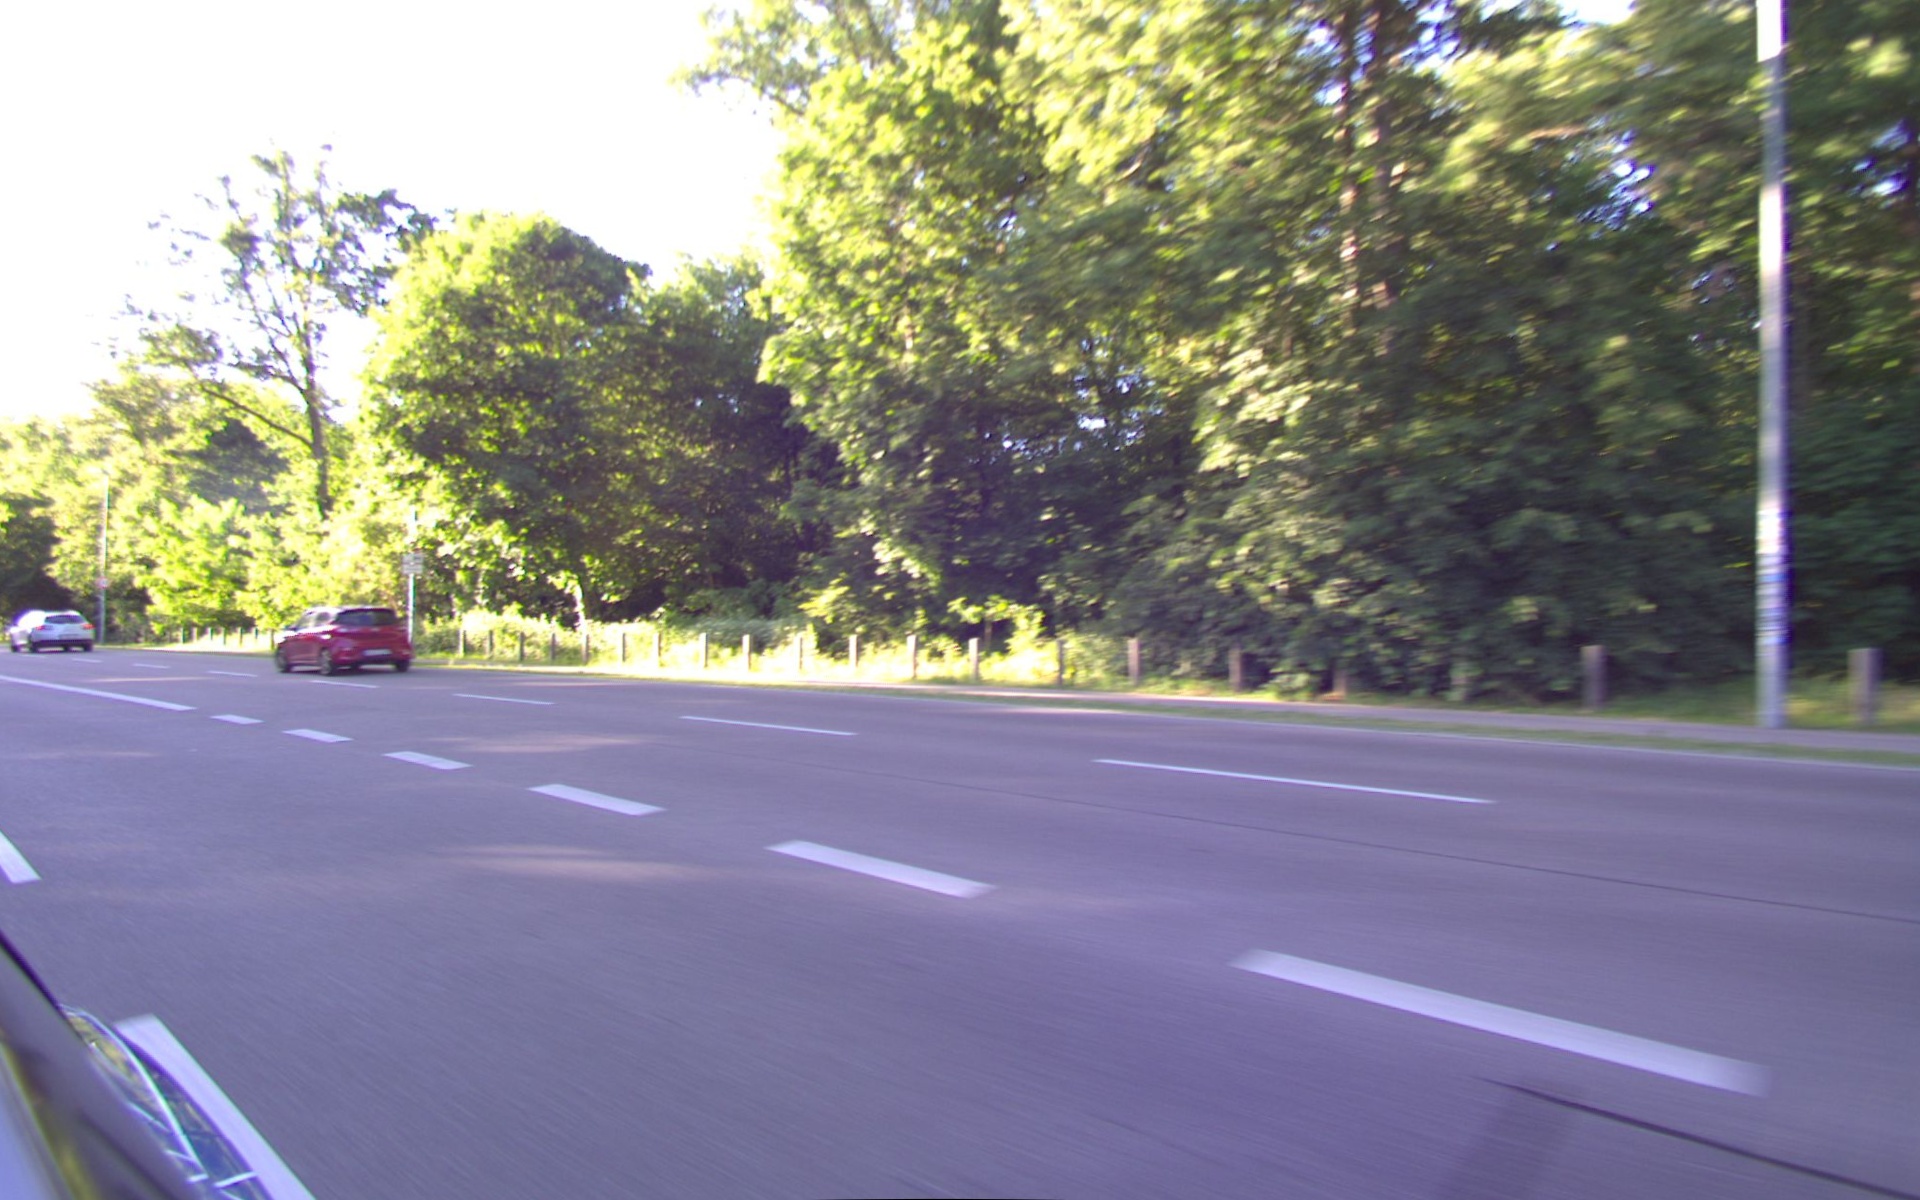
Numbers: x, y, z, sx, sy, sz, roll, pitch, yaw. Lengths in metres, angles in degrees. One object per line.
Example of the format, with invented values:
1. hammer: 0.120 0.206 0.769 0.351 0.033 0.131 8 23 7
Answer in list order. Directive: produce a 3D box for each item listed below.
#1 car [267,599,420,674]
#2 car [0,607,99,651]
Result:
1. car: -13.696 0.772 22.418 3.801 1.529 1.647 -1 -1 38
2. car: -33.549 1.037 37.255 4.387 1.534 1.767 -1 -1 35
